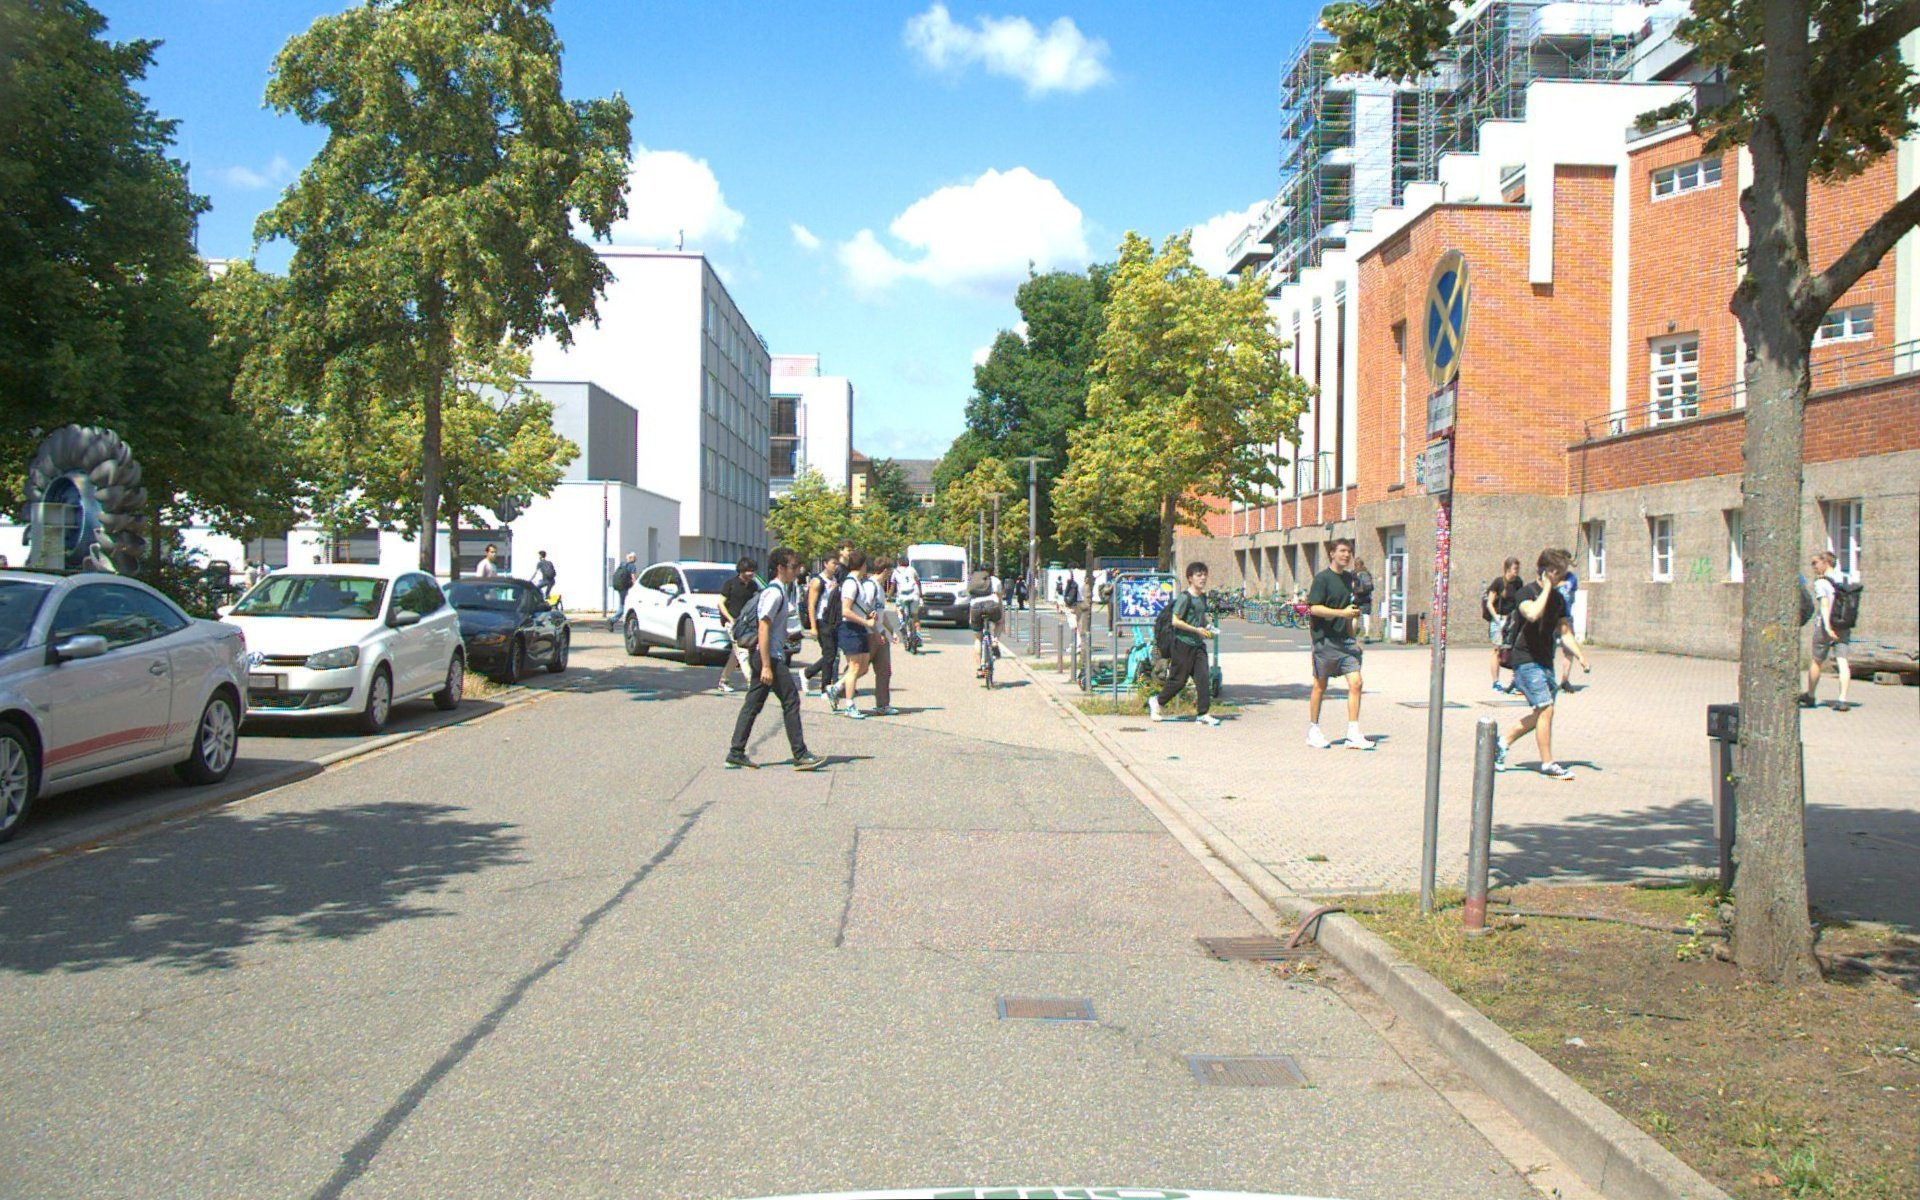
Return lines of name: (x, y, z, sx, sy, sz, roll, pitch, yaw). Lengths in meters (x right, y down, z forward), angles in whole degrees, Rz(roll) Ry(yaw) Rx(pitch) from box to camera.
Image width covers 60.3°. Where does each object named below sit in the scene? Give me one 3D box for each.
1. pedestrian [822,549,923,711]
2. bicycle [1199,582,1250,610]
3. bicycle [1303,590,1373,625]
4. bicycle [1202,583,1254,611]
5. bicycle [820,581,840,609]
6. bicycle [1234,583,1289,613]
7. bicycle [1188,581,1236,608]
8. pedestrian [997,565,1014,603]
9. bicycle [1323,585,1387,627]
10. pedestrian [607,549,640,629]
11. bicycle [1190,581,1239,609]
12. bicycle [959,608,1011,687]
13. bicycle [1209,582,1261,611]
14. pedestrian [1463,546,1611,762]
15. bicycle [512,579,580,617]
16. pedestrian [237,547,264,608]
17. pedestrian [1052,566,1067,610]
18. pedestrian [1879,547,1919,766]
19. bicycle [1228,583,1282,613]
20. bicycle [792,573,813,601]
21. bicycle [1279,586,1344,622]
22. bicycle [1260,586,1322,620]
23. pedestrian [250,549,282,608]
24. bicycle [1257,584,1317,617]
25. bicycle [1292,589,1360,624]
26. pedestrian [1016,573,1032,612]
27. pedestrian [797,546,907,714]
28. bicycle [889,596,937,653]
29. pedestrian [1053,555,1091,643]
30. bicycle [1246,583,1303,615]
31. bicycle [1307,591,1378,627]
pedestrian: (-0.989, 0.321, 18.763, 0.891, 1.769, 0.676, 2, 1, 37)
bicycle: (9.727, -0.143, 60.920, 1.773, 1.002, 0.560, -1, 1, -2)
bicycle: (10.299, 0.208, 45.107, 1.773, 0.928, 0.560, -1, 1, -2)
bicycle: (9.764, -0.104, 60.216, 1.773, 1.002, 0.560, -1, 1, -2)
bicycle: (-4.724, -0.205, 60.306, 0.663, 0.981, 2.002, -1, 1, -3)
bicycle: (10.361, -0.074, 56.941, 1.773, 1.002, 0.560, -1, 1, -2)
bicycle: (9.778, -0.216, 64.191, 1.773, 1.002, 0.560, -1, 1, -2)
pedestrian: (2.246, -0.794, 81.842, 0.774, 1.892, 1.243, 0, 1, 0)
bicycle: (10.106, 0.156, 42.372, 1.504, 1.051, 0.560, 0, 1, -2)
pedestrian: (-7.786, -0.255, 38.245, 0.655, 1.816, 0.981, 1, -1, -14)
bicycle: (9.731, -0.195, 63.258, 1.773, 1.002, 0.560, -1, 1, -2)
bicycle: (0.349, 0.656, 23.571, 0.692, 1.010, 1.911, 2, 1, 1)
bicycle: (9.873, -0.119, 59.390, 1.773, 1.002, 0.560, -1, 1, -2)
pedestrian: (4.533, 0.392, 12.997, 0.844, 1.623, 0.817, -2, 2, -45)
bicycle: (-11.754, -0.074, 46.890, 2.084, 1.019, 0.806, 2, 0, 40)
pedestrian: (-21.223, -0.675, 49.466, 0.540, 1.795, 0.586, 1, 0, -1)
pedestrian: (4.301, -0.501, 71.486, 0.564, 1.892, 0.569, 0, 1, -4)
pedestrian: (7.732, 0.426, 12.656, 0.858, 1.666, 0.948, -1, 1, -2)
bicycle: (10.265, -0.075, 57.547, 1.773, 1.002, 0.560, -1, 1, -2)
bicycle: (-5.570, -0.472, 58.505, 0.663, 0.981, 2.002, 1, 1, -4)
bicycle: (10.269, 0.111, 48.336, 1.773, 1.002, 0.560, -1, 1, -2)
bicycle: (10.066, 0.077, 50.290, 1.773, 1.002, 0.560, -1, 1, -2)
pedestrian: (-21.118, -0.650, 50.334, 0.679, 1.779, 0.636, 1, 0, -1)
bicycle: (10.373, 0.021, 52.491, 1.773, 1.002, 0.560, -1, 1, -2)
bicycle: (10.295, 0.174, 46.574, 1.773, 0.928, 0.560, -1, 1, -2)
pedestrian: (3.155, -0.380, 81.522, 0.774, 1.892, 1.026, 0, 1, 0)
pedestrian: (-1.177, 0.307, 18.055, 0.964, 1.769, 0.698, 1, 1, 36)
bicycle: (-0.938, 0.464, 32.435, 0.793, 1.019, 2.121, -1, 1, -6)
pedestrian: (2.251, -0.039, 33.369, 0.688, 1.724, 0.962, -1, 3, -1)
bicycle: (10.321, -0.028, 54.320, 1.773, 1.002, 0.560, -1, 1, -2)
bicycle: (10.244, 0.229, 44.311, 1.773, 0.928, 0.560, -1, 1, -2)
